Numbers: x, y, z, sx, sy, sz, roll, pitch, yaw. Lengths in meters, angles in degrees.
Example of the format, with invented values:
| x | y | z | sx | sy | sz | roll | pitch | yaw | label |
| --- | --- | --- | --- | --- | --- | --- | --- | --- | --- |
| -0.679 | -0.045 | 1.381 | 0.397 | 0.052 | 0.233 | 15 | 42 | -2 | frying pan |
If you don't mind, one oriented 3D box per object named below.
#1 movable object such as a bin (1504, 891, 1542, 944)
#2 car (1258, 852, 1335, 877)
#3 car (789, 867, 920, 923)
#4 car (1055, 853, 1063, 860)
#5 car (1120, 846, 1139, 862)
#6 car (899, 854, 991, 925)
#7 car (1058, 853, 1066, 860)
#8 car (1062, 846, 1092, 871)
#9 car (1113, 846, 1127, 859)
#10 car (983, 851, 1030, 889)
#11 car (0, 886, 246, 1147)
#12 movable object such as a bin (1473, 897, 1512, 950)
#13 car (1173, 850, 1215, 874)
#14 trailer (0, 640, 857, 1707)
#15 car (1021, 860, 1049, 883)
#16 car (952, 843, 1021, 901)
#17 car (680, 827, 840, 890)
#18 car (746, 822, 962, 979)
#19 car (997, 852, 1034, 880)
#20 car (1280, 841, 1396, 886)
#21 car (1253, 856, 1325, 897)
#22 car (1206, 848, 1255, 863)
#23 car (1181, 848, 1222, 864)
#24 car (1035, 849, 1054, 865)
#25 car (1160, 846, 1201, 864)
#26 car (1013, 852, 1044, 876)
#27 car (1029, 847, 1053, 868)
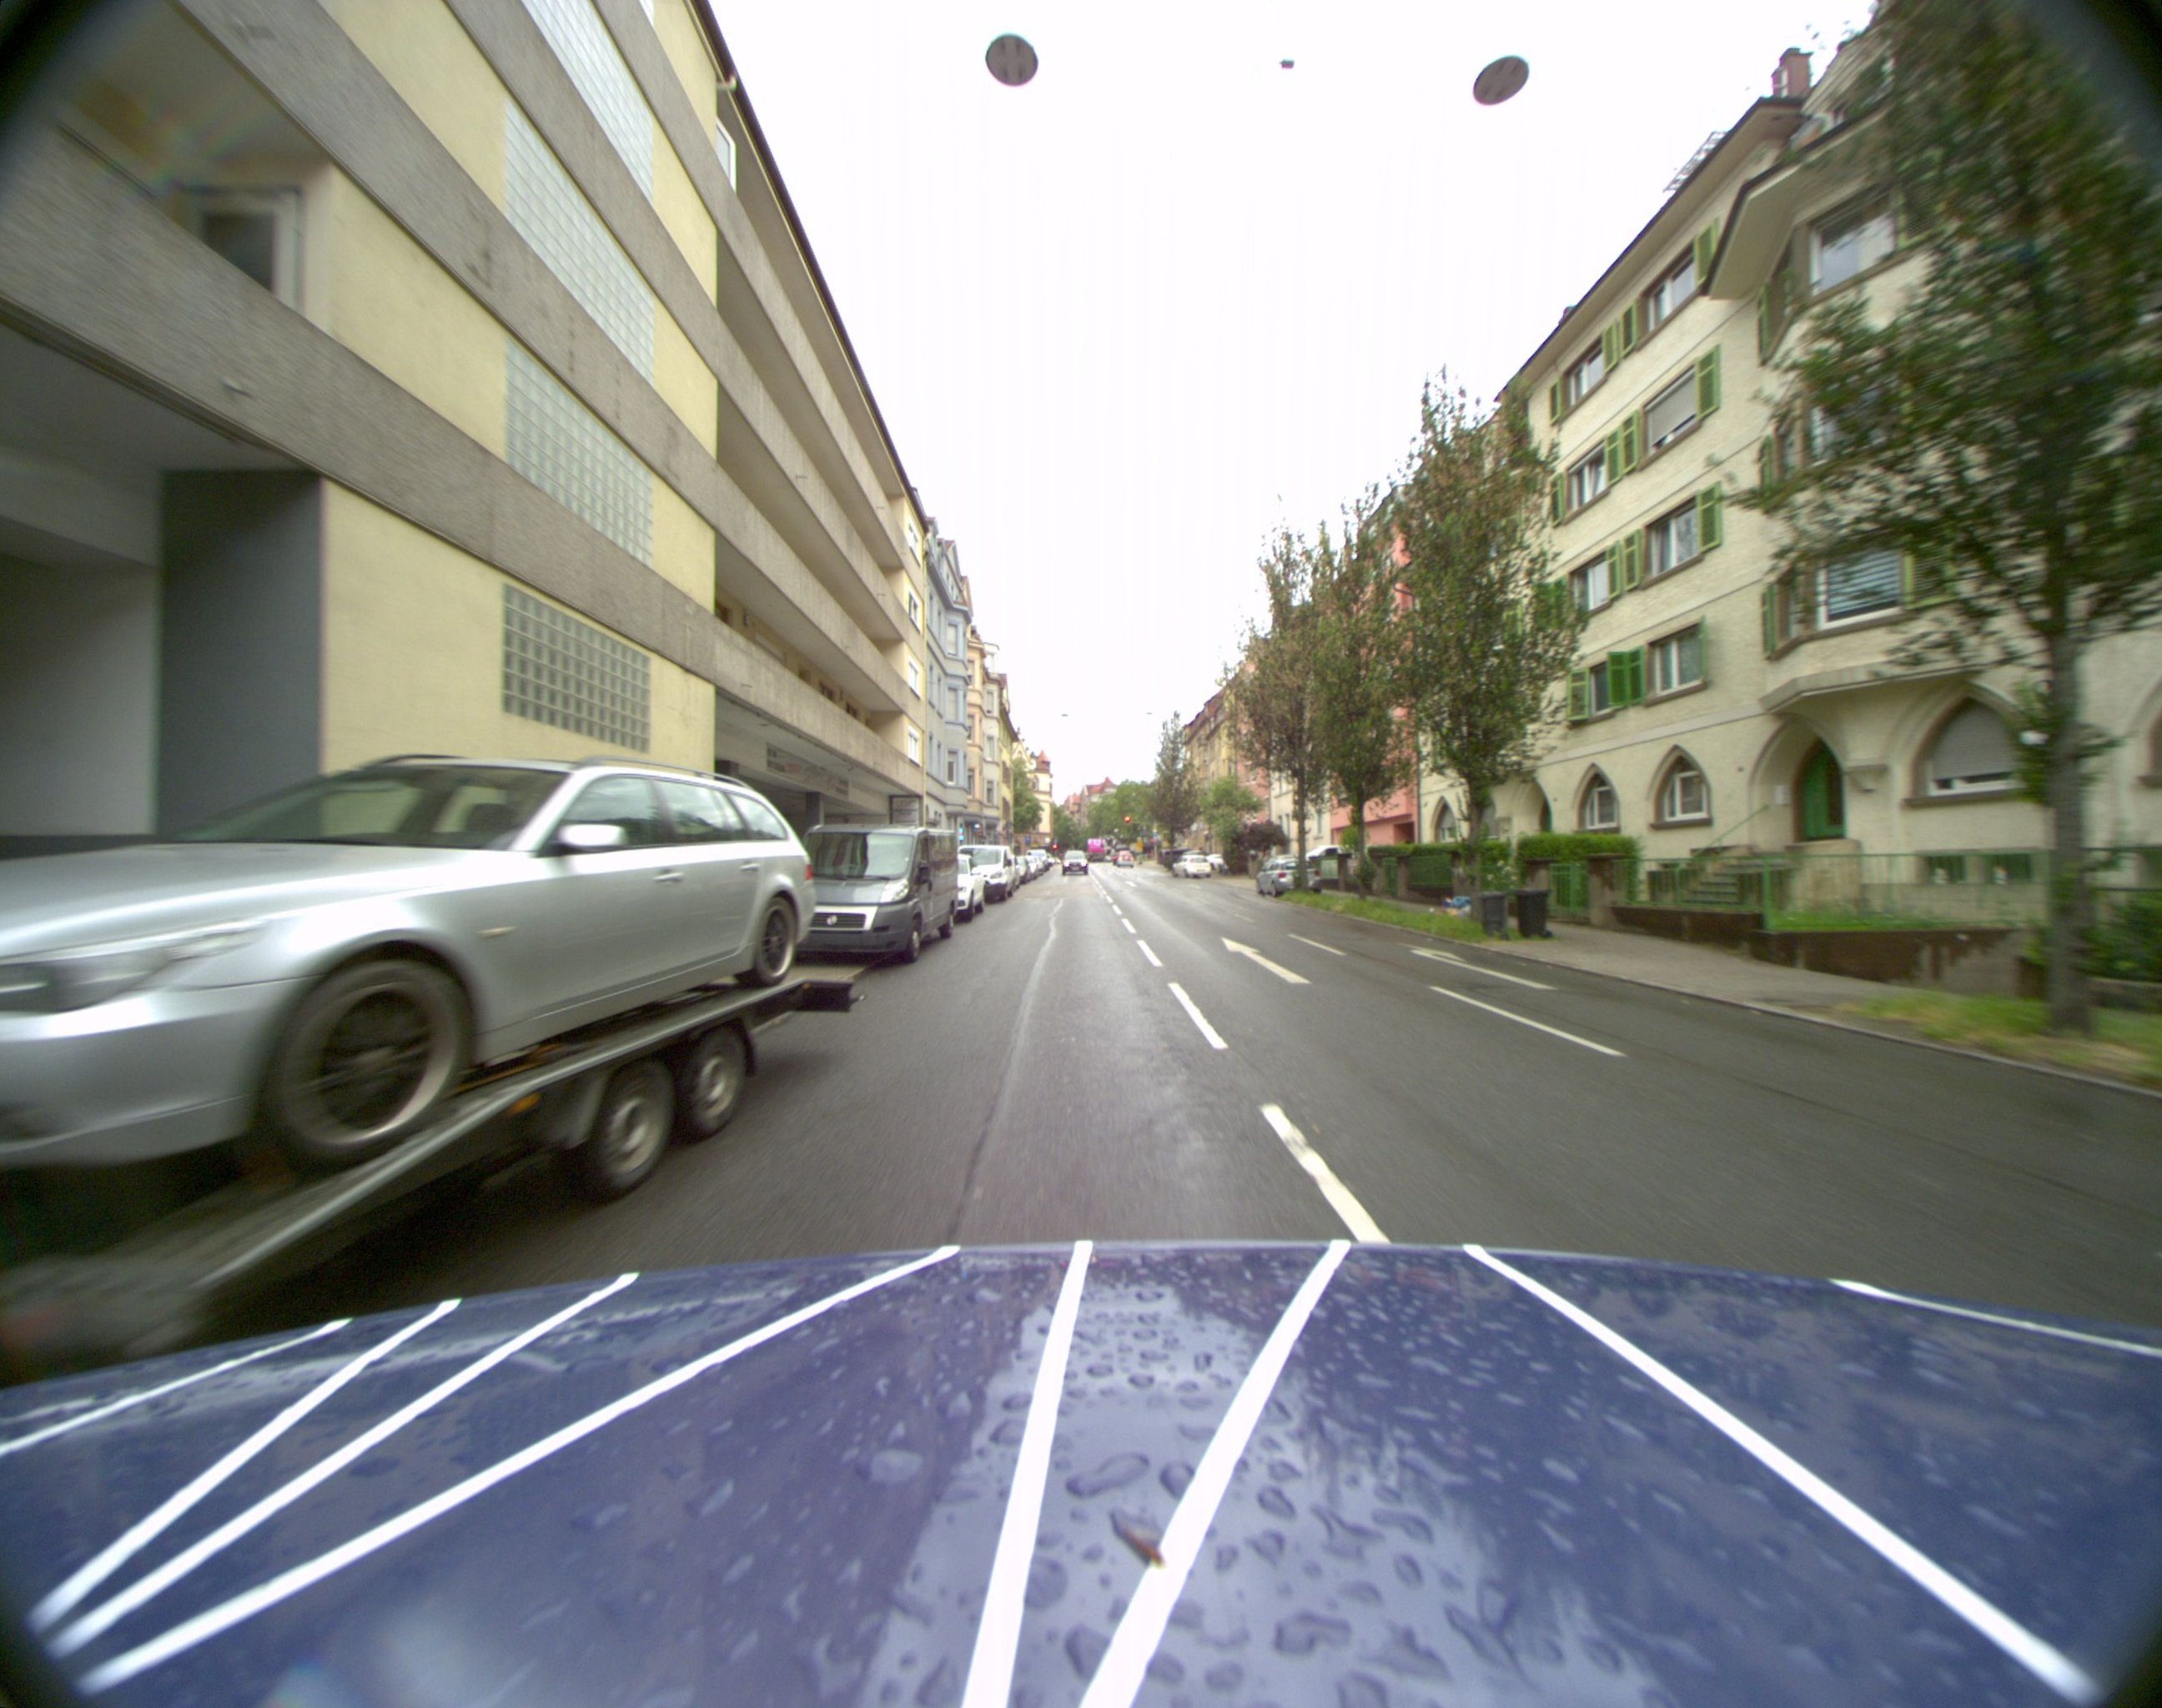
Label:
| x | y | z | sx | sy | sz | roll | pitch | yaw | label |
| --- | --- | --- | --- | --- | --- | --- | --- | --- | --- |
| 8.177 | 1.164 | 14.066 | 0.365 | 0.906 | 0.572 | -2 | 2 | -1 | movable object such as a bin |
| 12.428 | 0.609 | 44.014 | 3.931 | 1.389 | 1.724 | 0 | 1 | -7 | car |
| -8.655 | 1.497 | 29.106 | 4.454 | 2.002 | 2.003 | 0 | 0 | 18 | car |
| -4.468 | 0.434 | 156.468 | 1.553 | 1.386 | 3.745 | 0 | 1 | 0 | car |
| 5.253 | -0.028 | 83.103 | 1.772 | 1.540 | 3.651 | -2 | 1 | -1 | car |
| -3.474 | 0.843 | 20.147 | 1.751 | 1.630 | 4.272 | 0 | 1 | -1 | car |
| -3.900 | 0.423 | 153.664 | 1.553 | 1.386 | 3.745 | 0 | 1 | 0 | car |
| -0.332 | 0.295 | 54.651 | 1.890 | 1.543 | 3.998 | -3 | 1 | -2 | car |
| 4.896 | -0.224 | 96.223 | 1.669 | 1.448 | 3.652 | -2 | 1 | 3 | car |
| -3.444 | 0.679 | 35.658 | 1.731 | 1.588 | 4.311 | 2 | 1 | 0 | car |
| -8.138 | 0.926 | 4.822 | 3.997 | 1.383 | 1.558 | 2 | 1 | 1 | car |
| 7.437 | 1.250 | 13.751 | 0.365 | 0.884 | 0.572 | -2 | 1 | -1 | movable object such as a bin |
| 7.516 | 0.487 | 50.838 | 1.671 | 1.464 | 3.649 | -2 | 1 | -10 | car |
| -3.042 | 0.648 | 3.989 | 1.998 | 2.139 | 5.073 | 1 | 0 | 2 | trailer |
| -3.291 | 1.240 | 55.327 | 1.709 | 1.389 | 3.932 | -3 | 1 | 0 | car |
| -3.382 | 0.574 | 28.089 | 1.994 | 1.944 | 4.821 | 0 | 1 | 0 | car |
| -9.106 | 0.110 | 21.596 | 3.948 | 1.631 | 1.815 | 1 | 0 | 18 | car |
| -3.529 | 0.605 | 13.139 | 2.159 | 2.136 | 5.508 | 0 | 1 | -1 | car |
| -3.657 | 0.640 | 42.996 | 1.731 | 1.434 | 4.357 | 0 | 1 | 0 | car |
| 11.941 | 0.413 | 35.520 | 4.732 | 1.894 | 1.918 | -2 | 2 | -2 | car |
| 8.120 | 0.837 | 30.020 | 1.685 | 1.409 | 4.137 | 0 | 1 | 0 | car |
| 13.070 | 0.137 | 66.474 | 3.929 | 1.289 | 1.646 | 0 | 1 | 0 | car |
| 12.251 | 0.203 | 77.447 | 3.929 | 1.613 | 1.592 | 0 | 1 | 0 | car |
| -3.421 | 0.250 | 72.182 | 1.627 | 1.498 | 3.745 | 0 | 1 | 0 | car |
| 10.399 | 0.047 | 79.544 | 3.930 | 1.836 | 1.866 | 0 | 1 | -3 | car |
| -3.353 | 0.611 | 48.659 | 1.709 | 1.434 | 3.932 | 0 | 1 | 0 | car |
| -3.489 | 0.270 | 66.986 | 1.827 | 1.808 | 4.519 | 0 | 1 | 0 | car |
